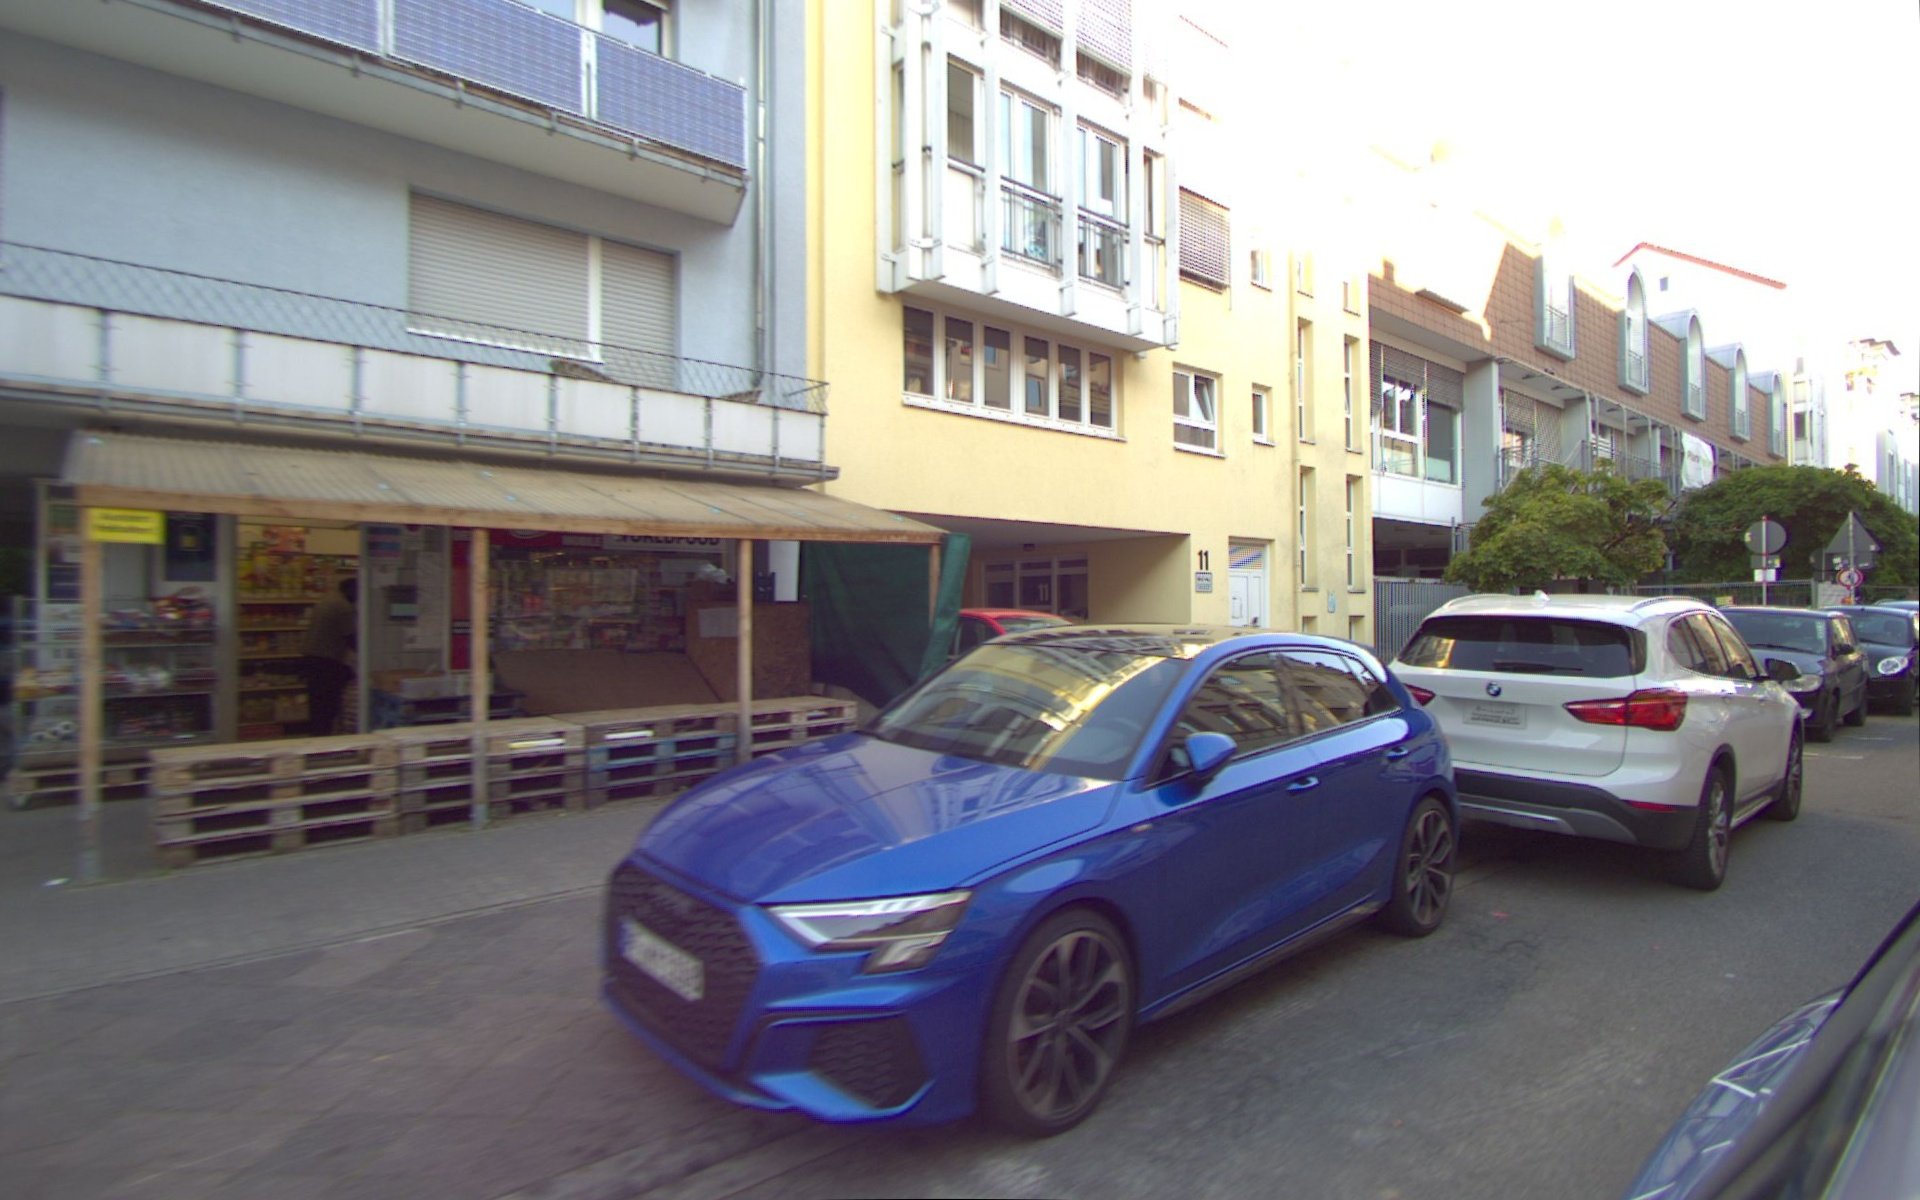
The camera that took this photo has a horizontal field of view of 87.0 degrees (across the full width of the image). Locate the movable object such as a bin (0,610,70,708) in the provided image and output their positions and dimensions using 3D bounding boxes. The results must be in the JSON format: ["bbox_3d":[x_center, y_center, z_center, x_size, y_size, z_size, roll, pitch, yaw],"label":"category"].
[{"bbox_3d":[-15.871,0.985,16.797,1.623,1.573,1.461,0,-3,-43],"label":"movable object such as a bin"}]

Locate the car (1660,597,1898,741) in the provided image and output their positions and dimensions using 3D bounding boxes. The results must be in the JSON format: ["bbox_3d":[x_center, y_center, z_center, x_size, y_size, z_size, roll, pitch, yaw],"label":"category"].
[{"bbox_3d":[10.342,0.721,12.676,4.052,1.504,1.623,0,1,-41],"label":"car"}]

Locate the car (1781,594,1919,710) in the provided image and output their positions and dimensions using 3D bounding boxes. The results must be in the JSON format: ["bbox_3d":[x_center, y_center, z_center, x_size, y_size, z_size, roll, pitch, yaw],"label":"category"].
[{"bbox_3d":[13.990,0.719,15.432,3.629,1.578,1.624,0,-2,-41],"label":"car"}]

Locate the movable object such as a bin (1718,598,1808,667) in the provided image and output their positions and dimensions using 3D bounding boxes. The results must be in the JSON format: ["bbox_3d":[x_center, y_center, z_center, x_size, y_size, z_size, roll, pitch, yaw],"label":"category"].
[{"bbox_3d":[16.840,0.679,21.266,1.241,1.394,0.795,-3,-2,24],"label":"movable object such as a bin"}]

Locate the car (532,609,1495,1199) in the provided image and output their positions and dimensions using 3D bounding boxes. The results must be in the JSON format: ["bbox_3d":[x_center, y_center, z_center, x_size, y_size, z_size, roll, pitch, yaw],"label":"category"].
[{"bbox_3d":[0.616,0.769,4.372,4.222,1.405,1.725,0,0,-43],"label":"car"}]

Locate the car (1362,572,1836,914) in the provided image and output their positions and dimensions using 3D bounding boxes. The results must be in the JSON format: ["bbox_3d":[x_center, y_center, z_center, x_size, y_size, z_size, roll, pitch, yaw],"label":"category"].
[{"bbox_3d":[4.662,0.686,7.043,4.512,1.632,1.723,0,-1,-44],"label":"car"}]

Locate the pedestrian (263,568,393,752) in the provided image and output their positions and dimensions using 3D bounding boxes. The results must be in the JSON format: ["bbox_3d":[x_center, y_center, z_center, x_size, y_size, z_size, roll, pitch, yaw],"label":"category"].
[{"bbox_3d":[-6.349,0.580,10.169,0.845,1.724,0.940,-4,-3,45],"label":"pedestrian"}]

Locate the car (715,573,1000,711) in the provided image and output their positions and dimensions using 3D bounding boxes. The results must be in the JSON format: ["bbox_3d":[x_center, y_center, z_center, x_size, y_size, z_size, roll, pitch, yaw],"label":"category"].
[{"bbox_3d":[-1.582,0.537,14.542,1.967,1.680,4.109,0,-1,-44],"label":"car"}]

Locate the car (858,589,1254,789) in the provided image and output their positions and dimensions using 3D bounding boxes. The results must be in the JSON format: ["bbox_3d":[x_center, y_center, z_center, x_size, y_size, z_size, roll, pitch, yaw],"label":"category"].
[{"bbox_3d":[0.791,0.803,10.283,1.665,1.628,3.900,0,-2,-41],"label":"car"}]

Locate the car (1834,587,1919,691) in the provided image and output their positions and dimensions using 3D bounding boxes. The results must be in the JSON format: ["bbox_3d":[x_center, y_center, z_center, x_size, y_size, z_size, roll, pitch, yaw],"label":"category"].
[{"bbox_3d":[17.373,0.644,18.165,4.444,1.705,1.752,0,-2,-39],"label":"car"}]
